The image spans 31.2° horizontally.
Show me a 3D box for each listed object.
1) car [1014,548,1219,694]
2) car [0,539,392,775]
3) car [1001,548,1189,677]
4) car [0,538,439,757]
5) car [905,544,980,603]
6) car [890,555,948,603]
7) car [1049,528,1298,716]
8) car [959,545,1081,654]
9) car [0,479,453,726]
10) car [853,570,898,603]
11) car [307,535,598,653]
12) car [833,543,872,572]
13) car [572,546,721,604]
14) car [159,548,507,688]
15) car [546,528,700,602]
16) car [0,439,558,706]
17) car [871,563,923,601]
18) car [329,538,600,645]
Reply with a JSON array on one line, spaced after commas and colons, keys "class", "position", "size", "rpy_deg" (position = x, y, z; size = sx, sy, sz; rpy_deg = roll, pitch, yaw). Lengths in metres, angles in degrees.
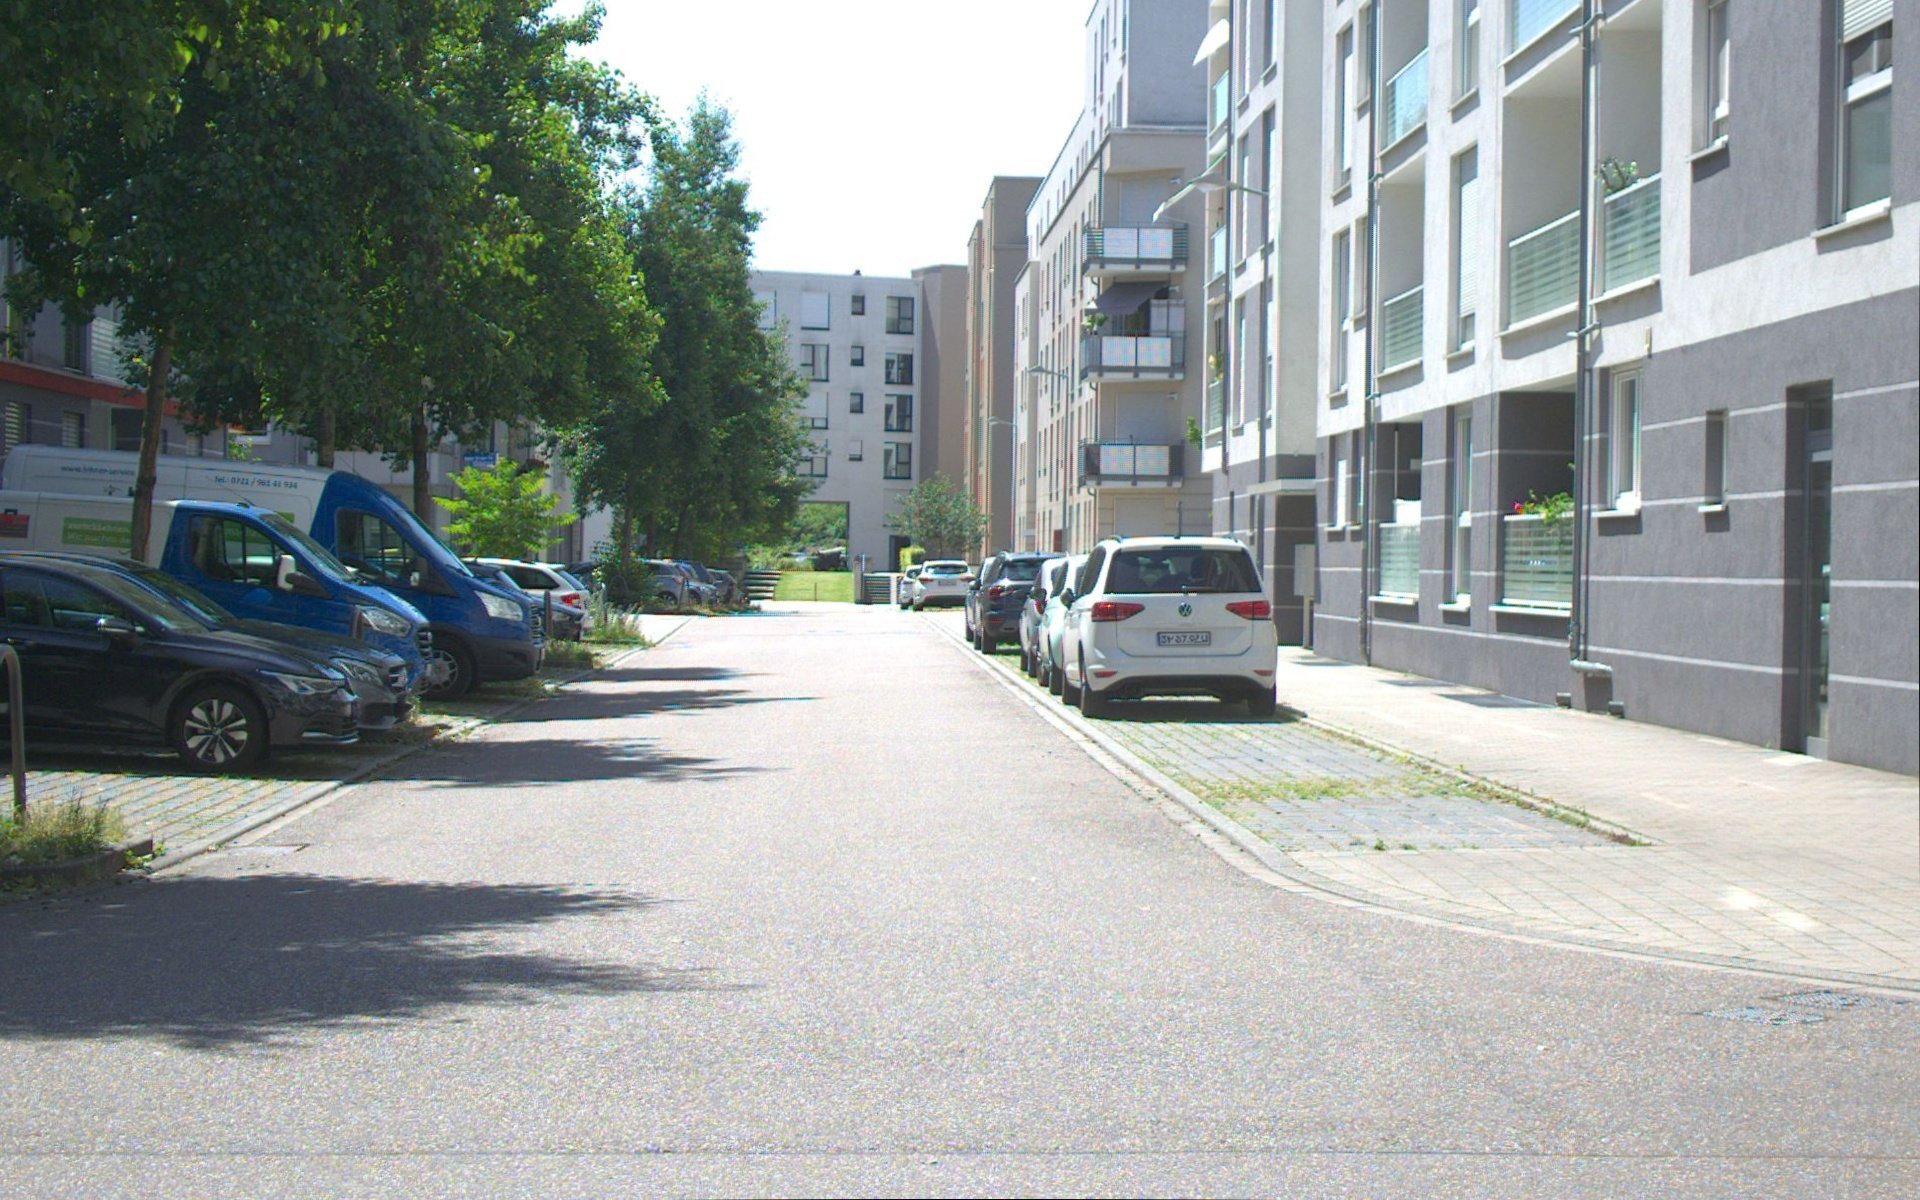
[{"class": "car", "position": [1.668, 0.192, 37.997], "size": [1.993, 1.519, 4.000], "rpy_deg": [0, 1, -1]}, {"class": "car", "position": [-6.485, 0.344, 24.906], "size": [4.382, 1.509, 2.075], "rpy_deg": [3, 1, -2]}, {"class": "car", "position": [1.630, 0.121, 42.826], "size": [1.993, 1.519, 4.001], "rpy_deg": [0, 1, -3]}, {"class": "car", "position": [-6.494, 0.335, 27.393], "size": [4.382, 1.536, 1.878], "rpy_deg": [2, 1, -2]}, {"class": "car", "position": [-0.531, -0.783, 100.924], "size": [1.993, 1.669, 4.001], "rpy_deg": [1, 1, -3]}, {"class": "car", "position": [-1.557, -0.787, 128.140], "size": [1.993, 1.711, 4.001], "rpy_deg": [1, 1, -3]}, {"class": "car", "position": [1.931, 0.165, 32.299], "size": [1.997, 1.651, 4.115], "rpy_deg": [0, 1, -1]}, {"class": "car", "position": [0.932, -0.040, 52.392], "size": [1.757, 1.547, 4.000], "rpy_deg": [1, 1, 1]}, {"class": "car", "position": [-7.477, -0.021, 32.067], "size": [5.144, 2.112, 2.312], "rpy_deg": [2, 1, -2]}, {"class": "car", "position": [-3.989, -0.666, 163.415], "size": [1.993, 1.514, 4.000], "rpy_deg": [1, 1, 0]}, {"class": "car", "position": [-7.489, -0.100, 50.972], "size": [3.987, 1.656, 2.000], "rpy_deg": [1, 1, 1]}, {"class": "car", "position": [-5.773, -2.288, 184.235], "size": [1.993, 1.514, 4.001], "rpy_deg": [1, 1, -3]}, {"class": "car", "position": [-9.002, -0.735, 98.932], "size": [3.987, 1.597, 2.000], "rpy_deg": [1, 1, 5]}, {"class": "car", "position": [-7.836, 0.204, 43.217], "size": [3.987, 1.656, 2.000], "rpy_deg": [1, 1, 1]}, {"class": "car", "position": [-9.425, -0.983, 96.311], "size": [3.987, 2.007, 2.000], "rpy_deg": [1, 1, 5]}, {"class": "car", "position": [-7.521, -0.307, 37.496], "size": [6.023, 2.806, 2.605], "rpy_deg": [0, 1, -2]}, {"class": "car", "position": [-2.608, -0.750, 142.187], "size": [1.993, 1.514, 4.001], "rpy_deg": [1, 1, -3]}, {"class": "car", "position": [-7.849, -0.146, 54.702], "size": [3.987, 1.612, 2.000], "rpy_deg": [1, 1, 1]}]
